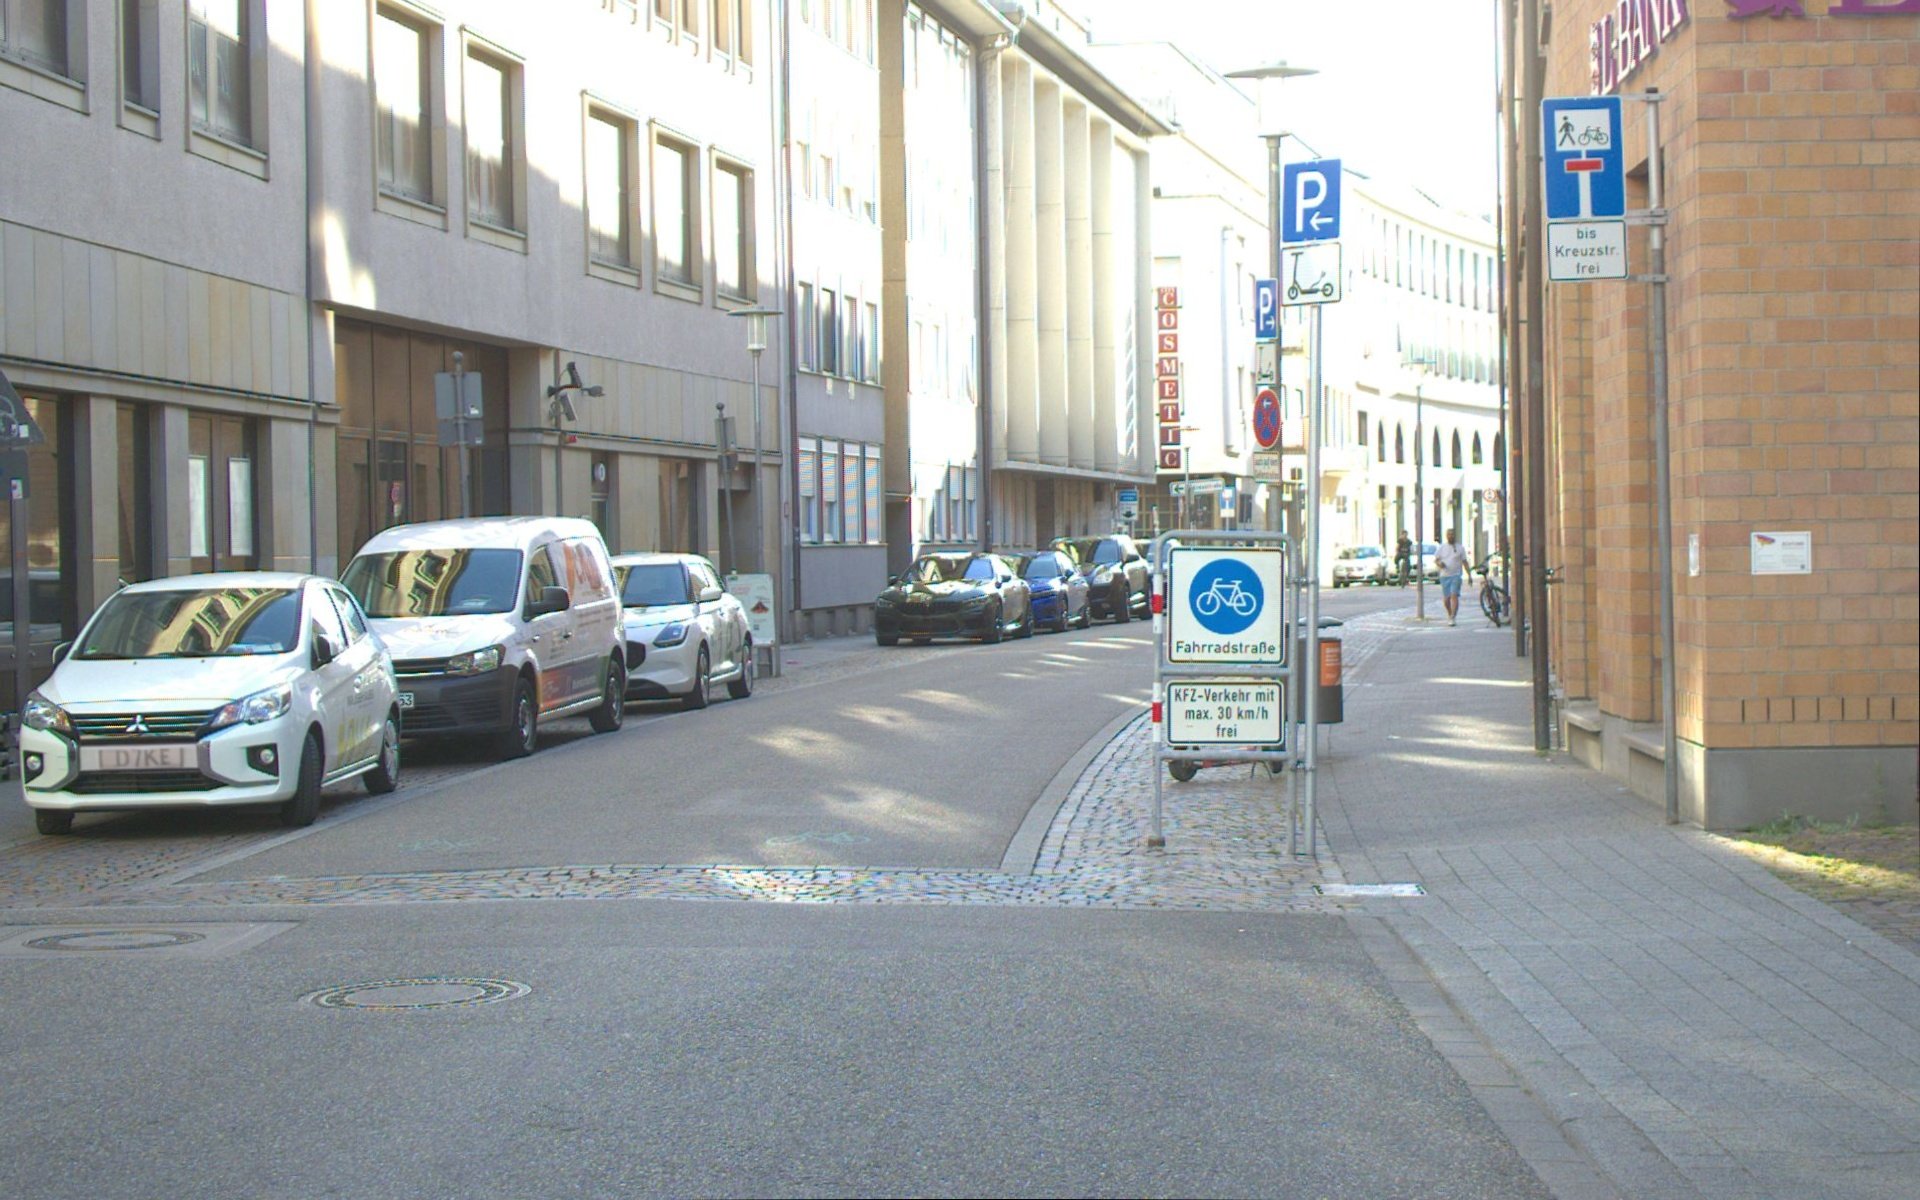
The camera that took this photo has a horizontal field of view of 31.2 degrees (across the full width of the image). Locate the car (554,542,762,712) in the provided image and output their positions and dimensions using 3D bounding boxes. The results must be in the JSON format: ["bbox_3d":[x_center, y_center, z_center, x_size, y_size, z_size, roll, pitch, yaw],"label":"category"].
[{"bbox_3d":[-2.863,0.219,33.177,1.271,1.501,3.401,-2,1,7],"label":"car"}]

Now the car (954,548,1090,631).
[{"bbox_3d":[1.112,-0.208,59.575,1.725,1.336,3.998,-1,1,10],"label":"car"}]

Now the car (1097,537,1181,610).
[{"bbox_3d":[3.814,-0.580,72.880,1.339,1.489,3.508,-1,1,10],"label":"car"}]

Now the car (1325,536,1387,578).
[{"bbox_3d":[13.326,-1.457,115.588,1.690,1.365,3.616,-1,1,12],"label":"car"}]

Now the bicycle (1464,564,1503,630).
[{"bbox_3d":[8.288,-0.060,54.509,0.511,0.990,2.647,0,1,7],"label":"bicycle"}]

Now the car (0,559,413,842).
[{"bbox_3d":[-4.560,0.540,21.150,1.670,1.501,3.794,-2,1,1],"label":"car"}]

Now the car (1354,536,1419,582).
[{"bbox_3d":[13.339,-1.283,107.401,1.690,1.365,3.616,-1,1,12],"label":"car"}]

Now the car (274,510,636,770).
[{"bbox_3d":[-3.852,0.248,27.003,1.671,1.812,4.551,-2,1,6],"label":"car"}]

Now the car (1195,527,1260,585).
[{"bbox_3d":[7.051,-1.166,90.518,1.339,1.489,3.345,-1,1,10],"label":"car"}]

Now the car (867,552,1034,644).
[{"bbox_3d":[-0.103,-0.050,53.686,1.882,1.327,4.099,-1,1,10],"label":"car"}]

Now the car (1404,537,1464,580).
[{"bbox_3d":[15.710,-1.375,113.838,1.690,1.365,3.616,-1,1,12],"label":"car"}]

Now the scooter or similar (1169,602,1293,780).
[{"bbox_3d":[1.763,0.590,22.420,0.771,1.132,0.269,2,0,3],"label":"scooter or similar"}]

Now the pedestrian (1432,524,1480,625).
[{"bbox_3d":[8.601,-0.448,59.656,0.664,1.724,0.840,2,0,0],"label":"pedestrian"}]

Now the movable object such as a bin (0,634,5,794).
[{"bbox_3d":[-6.609,0.750,22.329,0.608,1.057,0.713,2,0,-3],"label":"movable object such as a bin"}]
